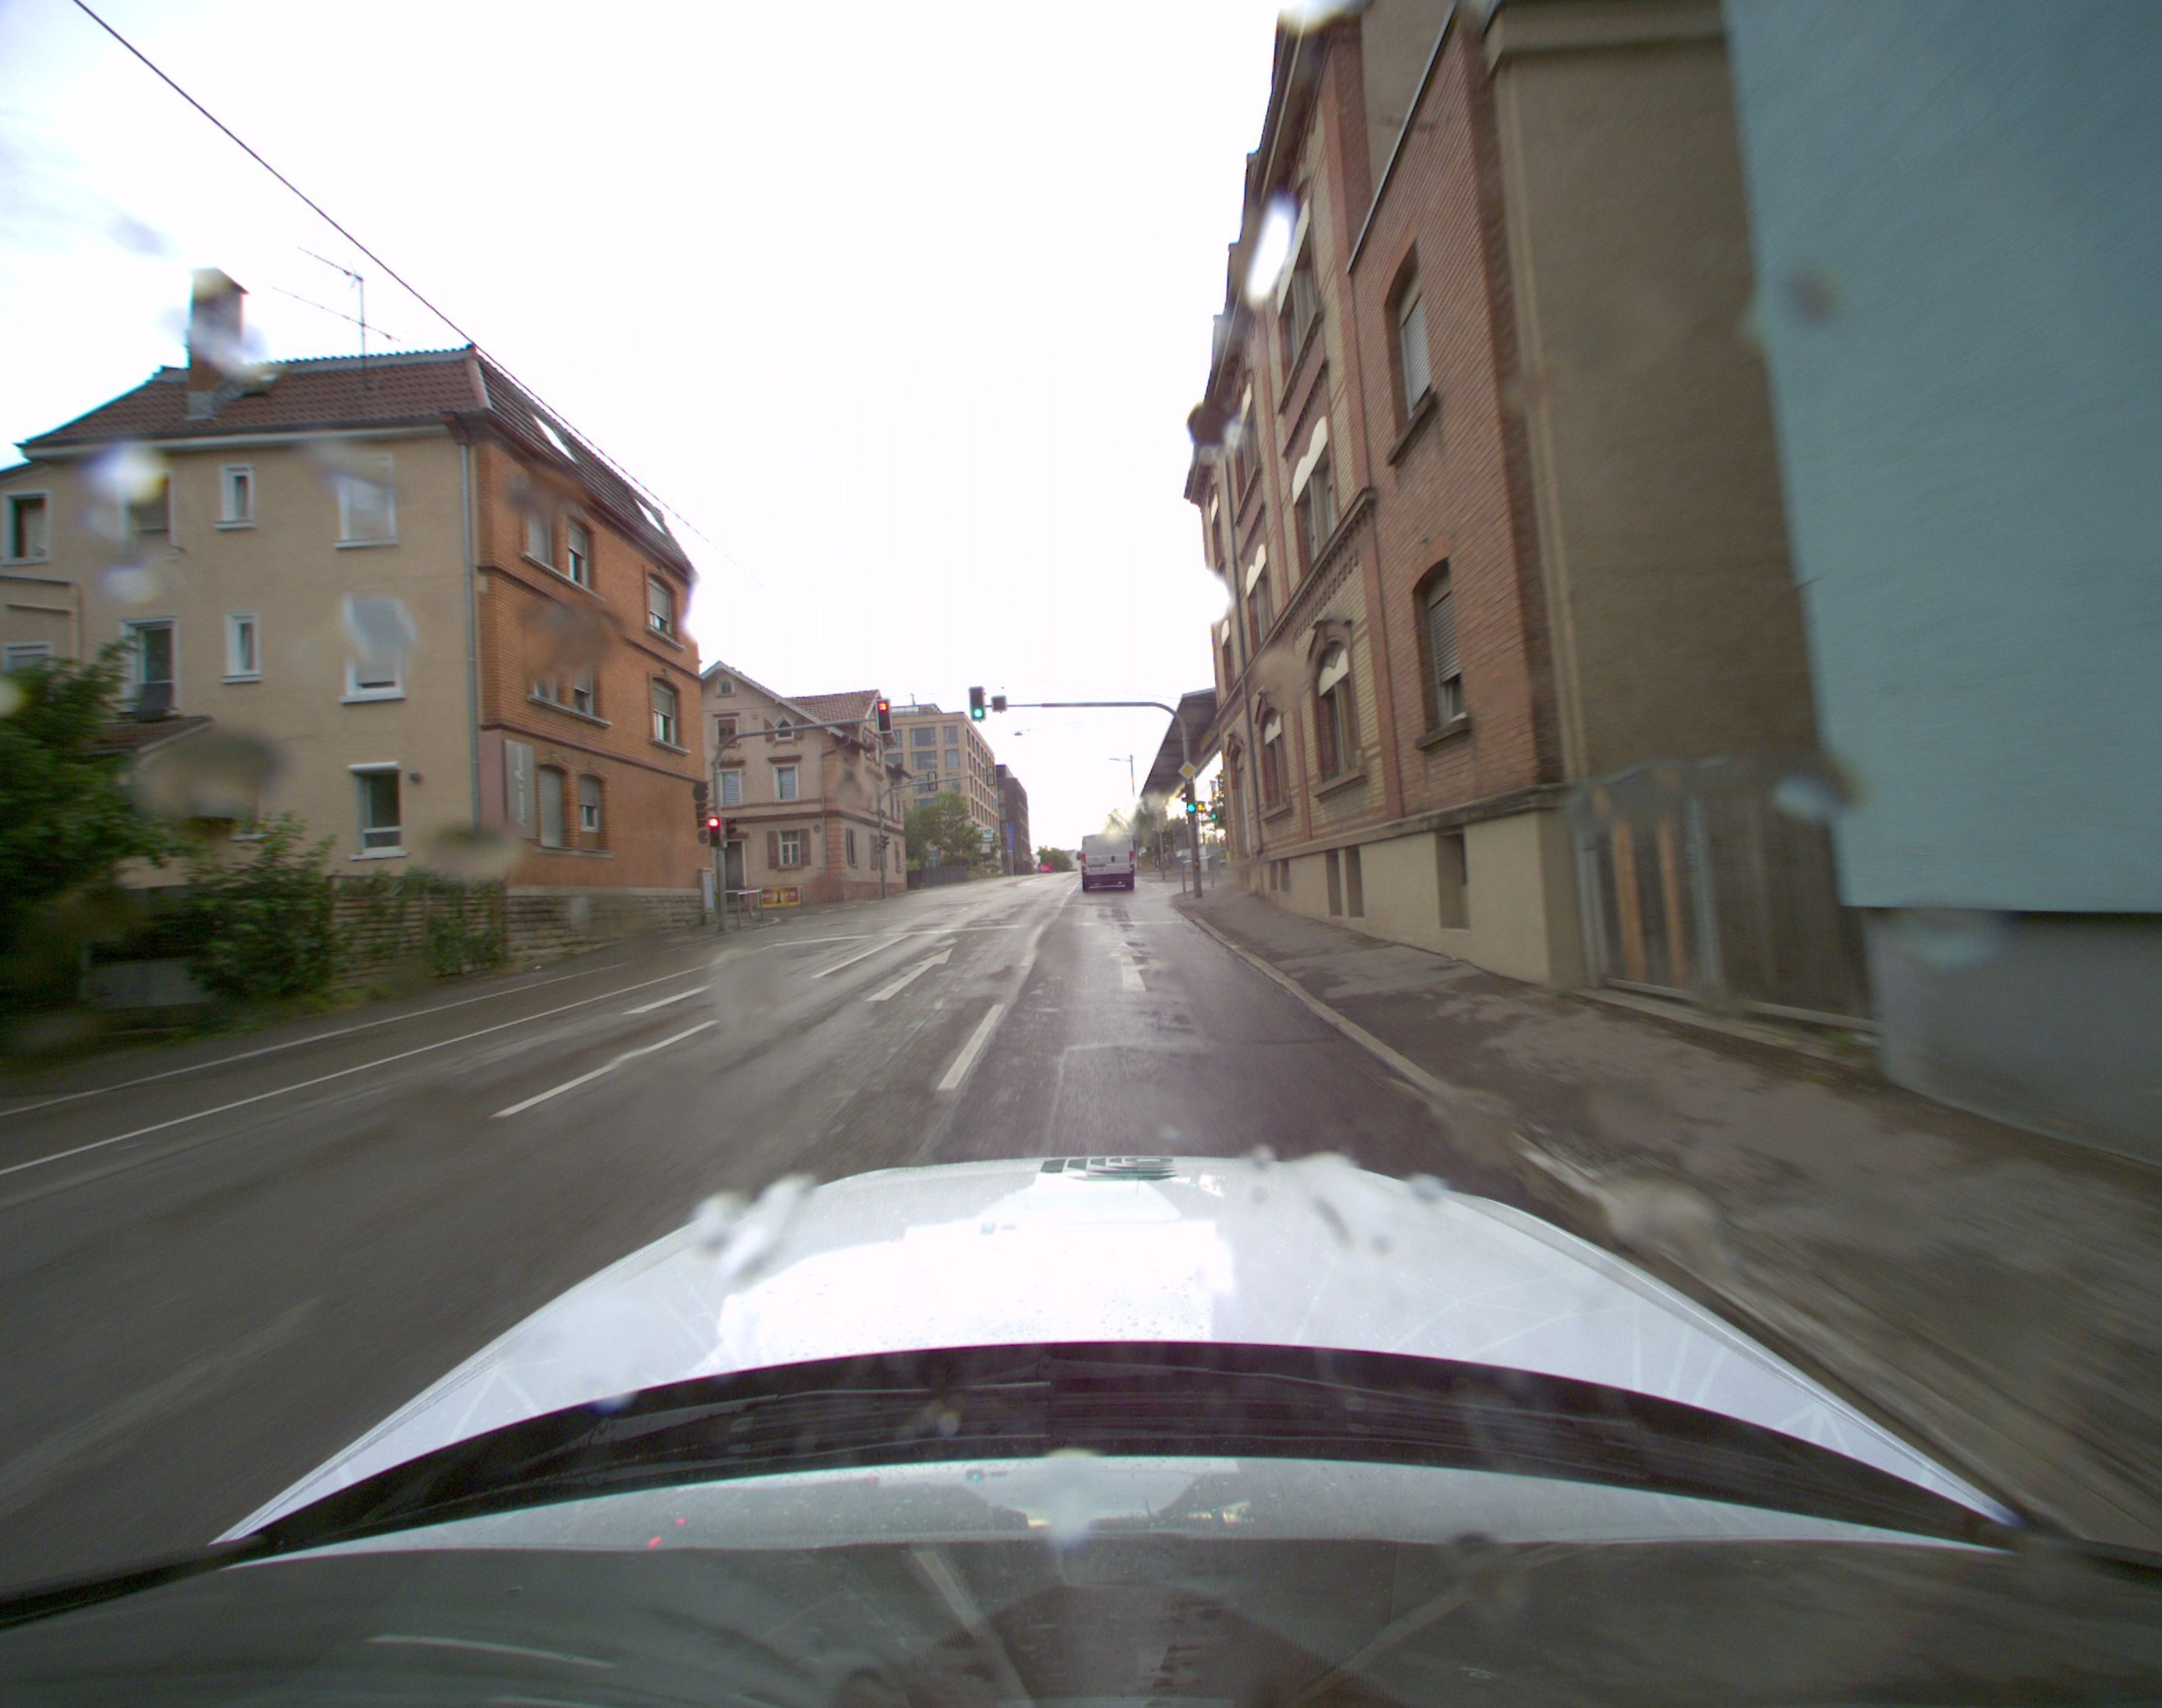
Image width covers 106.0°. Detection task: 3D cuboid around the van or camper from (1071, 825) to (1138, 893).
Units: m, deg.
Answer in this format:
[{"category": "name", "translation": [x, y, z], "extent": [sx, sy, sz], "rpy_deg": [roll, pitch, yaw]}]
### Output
[{"category": "van or camper", "translation": [0.963, 0.226, 32.951], "extent": [2.331, 2.357, 5.201], "rpy_deg": [-4, -1, 2]}]

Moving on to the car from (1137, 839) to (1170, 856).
[{"category": "car", "translation": [8.161, -0.764, 91.339], "extent": [1.975, 1.710, 4.455], "rpy_deg": [-7, -2, 27]}]
